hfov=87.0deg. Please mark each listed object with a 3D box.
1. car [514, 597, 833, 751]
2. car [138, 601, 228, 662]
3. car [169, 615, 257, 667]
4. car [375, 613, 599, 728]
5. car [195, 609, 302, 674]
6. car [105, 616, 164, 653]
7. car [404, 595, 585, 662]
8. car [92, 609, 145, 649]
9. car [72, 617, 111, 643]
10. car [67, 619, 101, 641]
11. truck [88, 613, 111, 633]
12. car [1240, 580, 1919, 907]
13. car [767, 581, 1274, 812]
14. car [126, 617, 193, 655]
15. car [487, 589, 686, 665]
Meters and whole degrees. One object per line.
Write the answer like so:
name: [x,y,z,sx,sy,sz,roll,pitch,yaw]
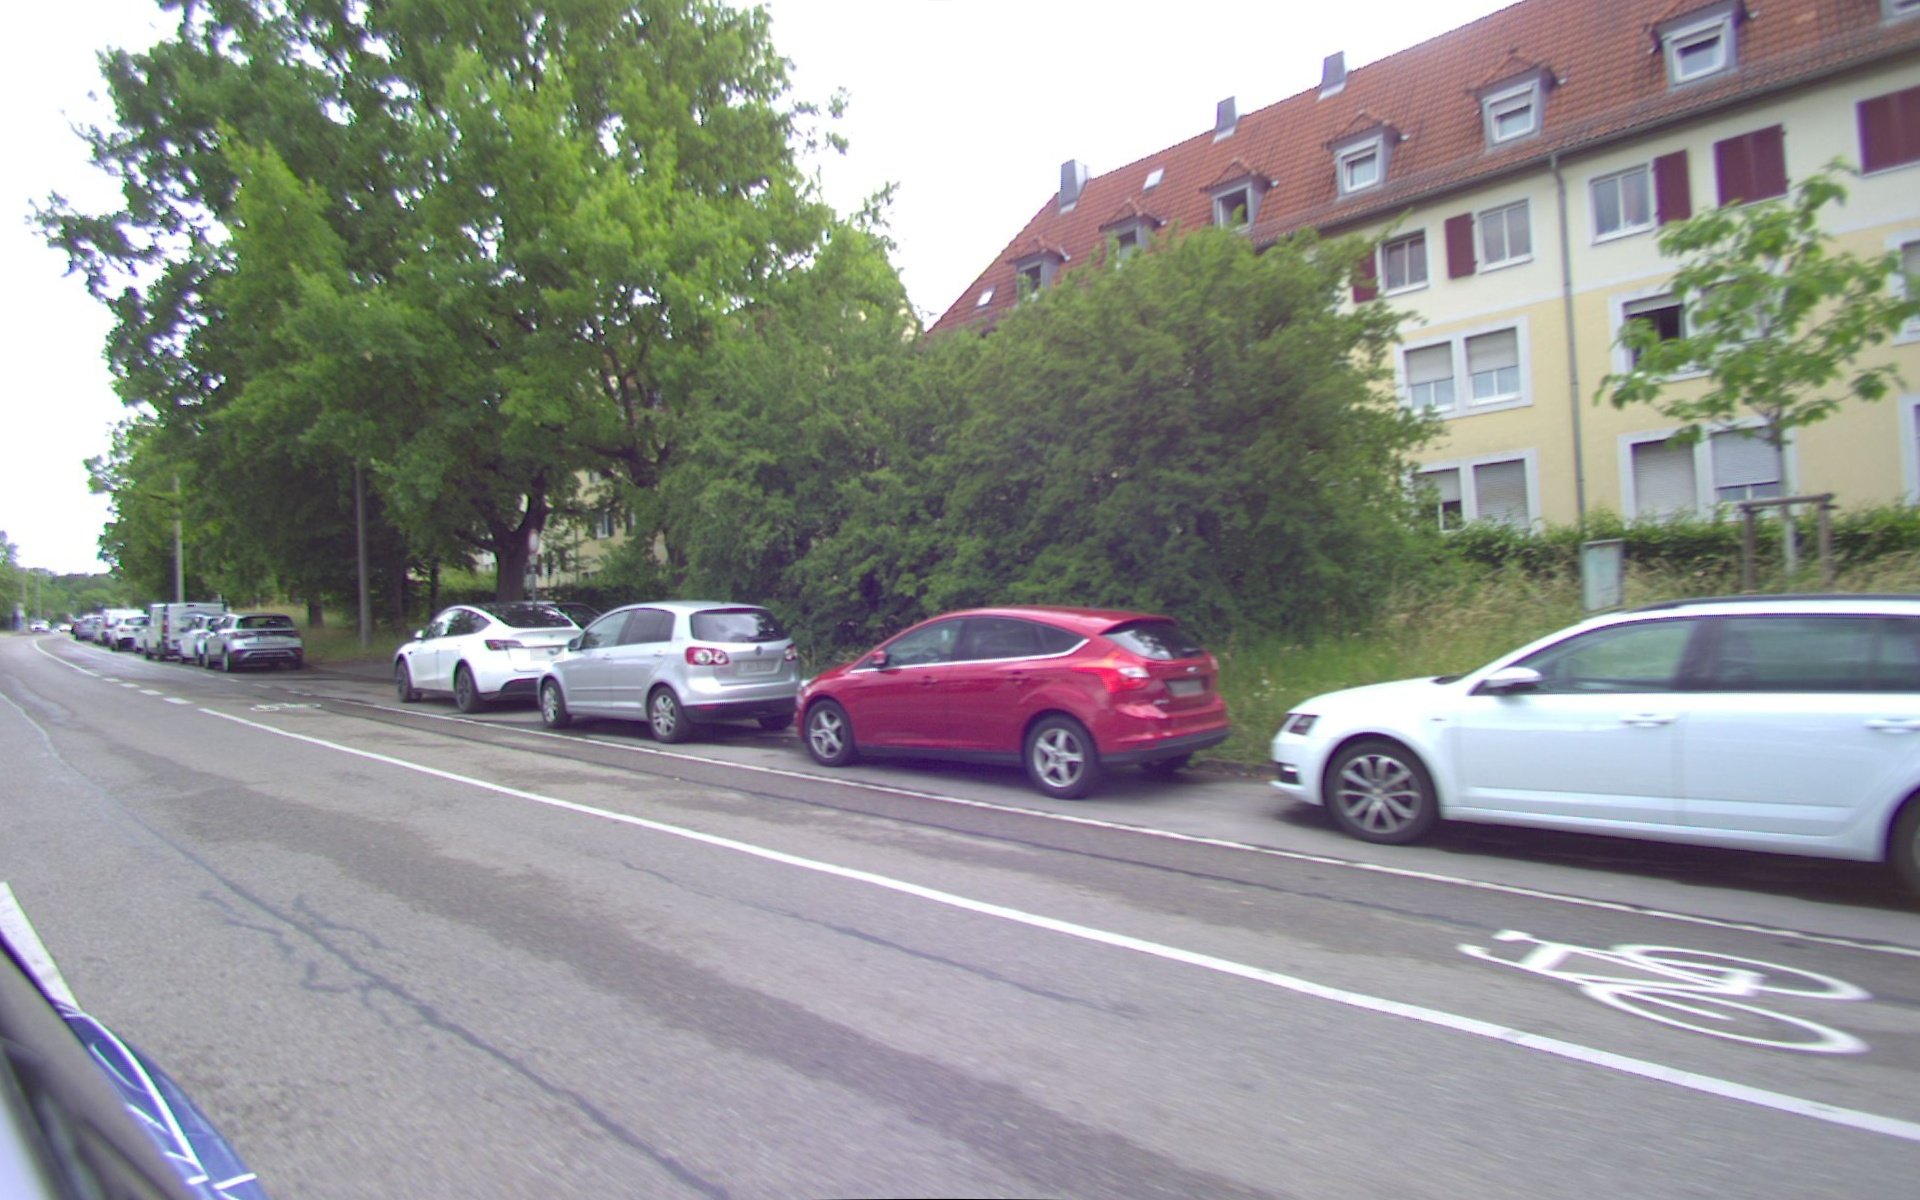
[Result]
car: [-3.675,0.802,12.646,4.117,1.585,1.849,-1,0,40]
car: [-27.223,1.074,35.390,1.845,1.978,5.129,-1,-1,-45]
car: [-23.187,1.234,31.380,3.720,1.493,1.564,-2,-1,43]
car: [-7.747,1.012,16.325,4.761,1.585,1.747,-1,-1,45]
car: [-19.753,1.105,28.032,1.746,1.646,4.160,-1,-1,-45]
car: [-37.225,1.527,45.605,1.654,1.576,4.284,0,-1,-45]
car: [-13.550,0.781,29.674,1.868,1.461,4.388,-2,4,41]
car: [-44.930,1.562,54.013,1.747,1.945,5.158,-2,0,-44]
car: [-57.221,1.965,66.671,1.747,1.604,4.138,-1,-1,-44]
car: [-60.976,2.095,70.480,1.746,1.458,4.156,-1,-1,-40]
truck: [-161.975,4.347,190.512,2.788,3.507,7.839,-1,-1,-37]
car: [4.211,0.650,5.780,4.753,1.470,1.698,-1,0,40]
car: [0.351,0.684,9.055,4.367,1.585,1.698,-1,0,40]
car: [-33.045,1.457,41.760,4.091,1.490,1.643,-1,0,44]
car: [-9.627,0.649,26.307,4.381,1.465,1.889,-7,4,-43]
